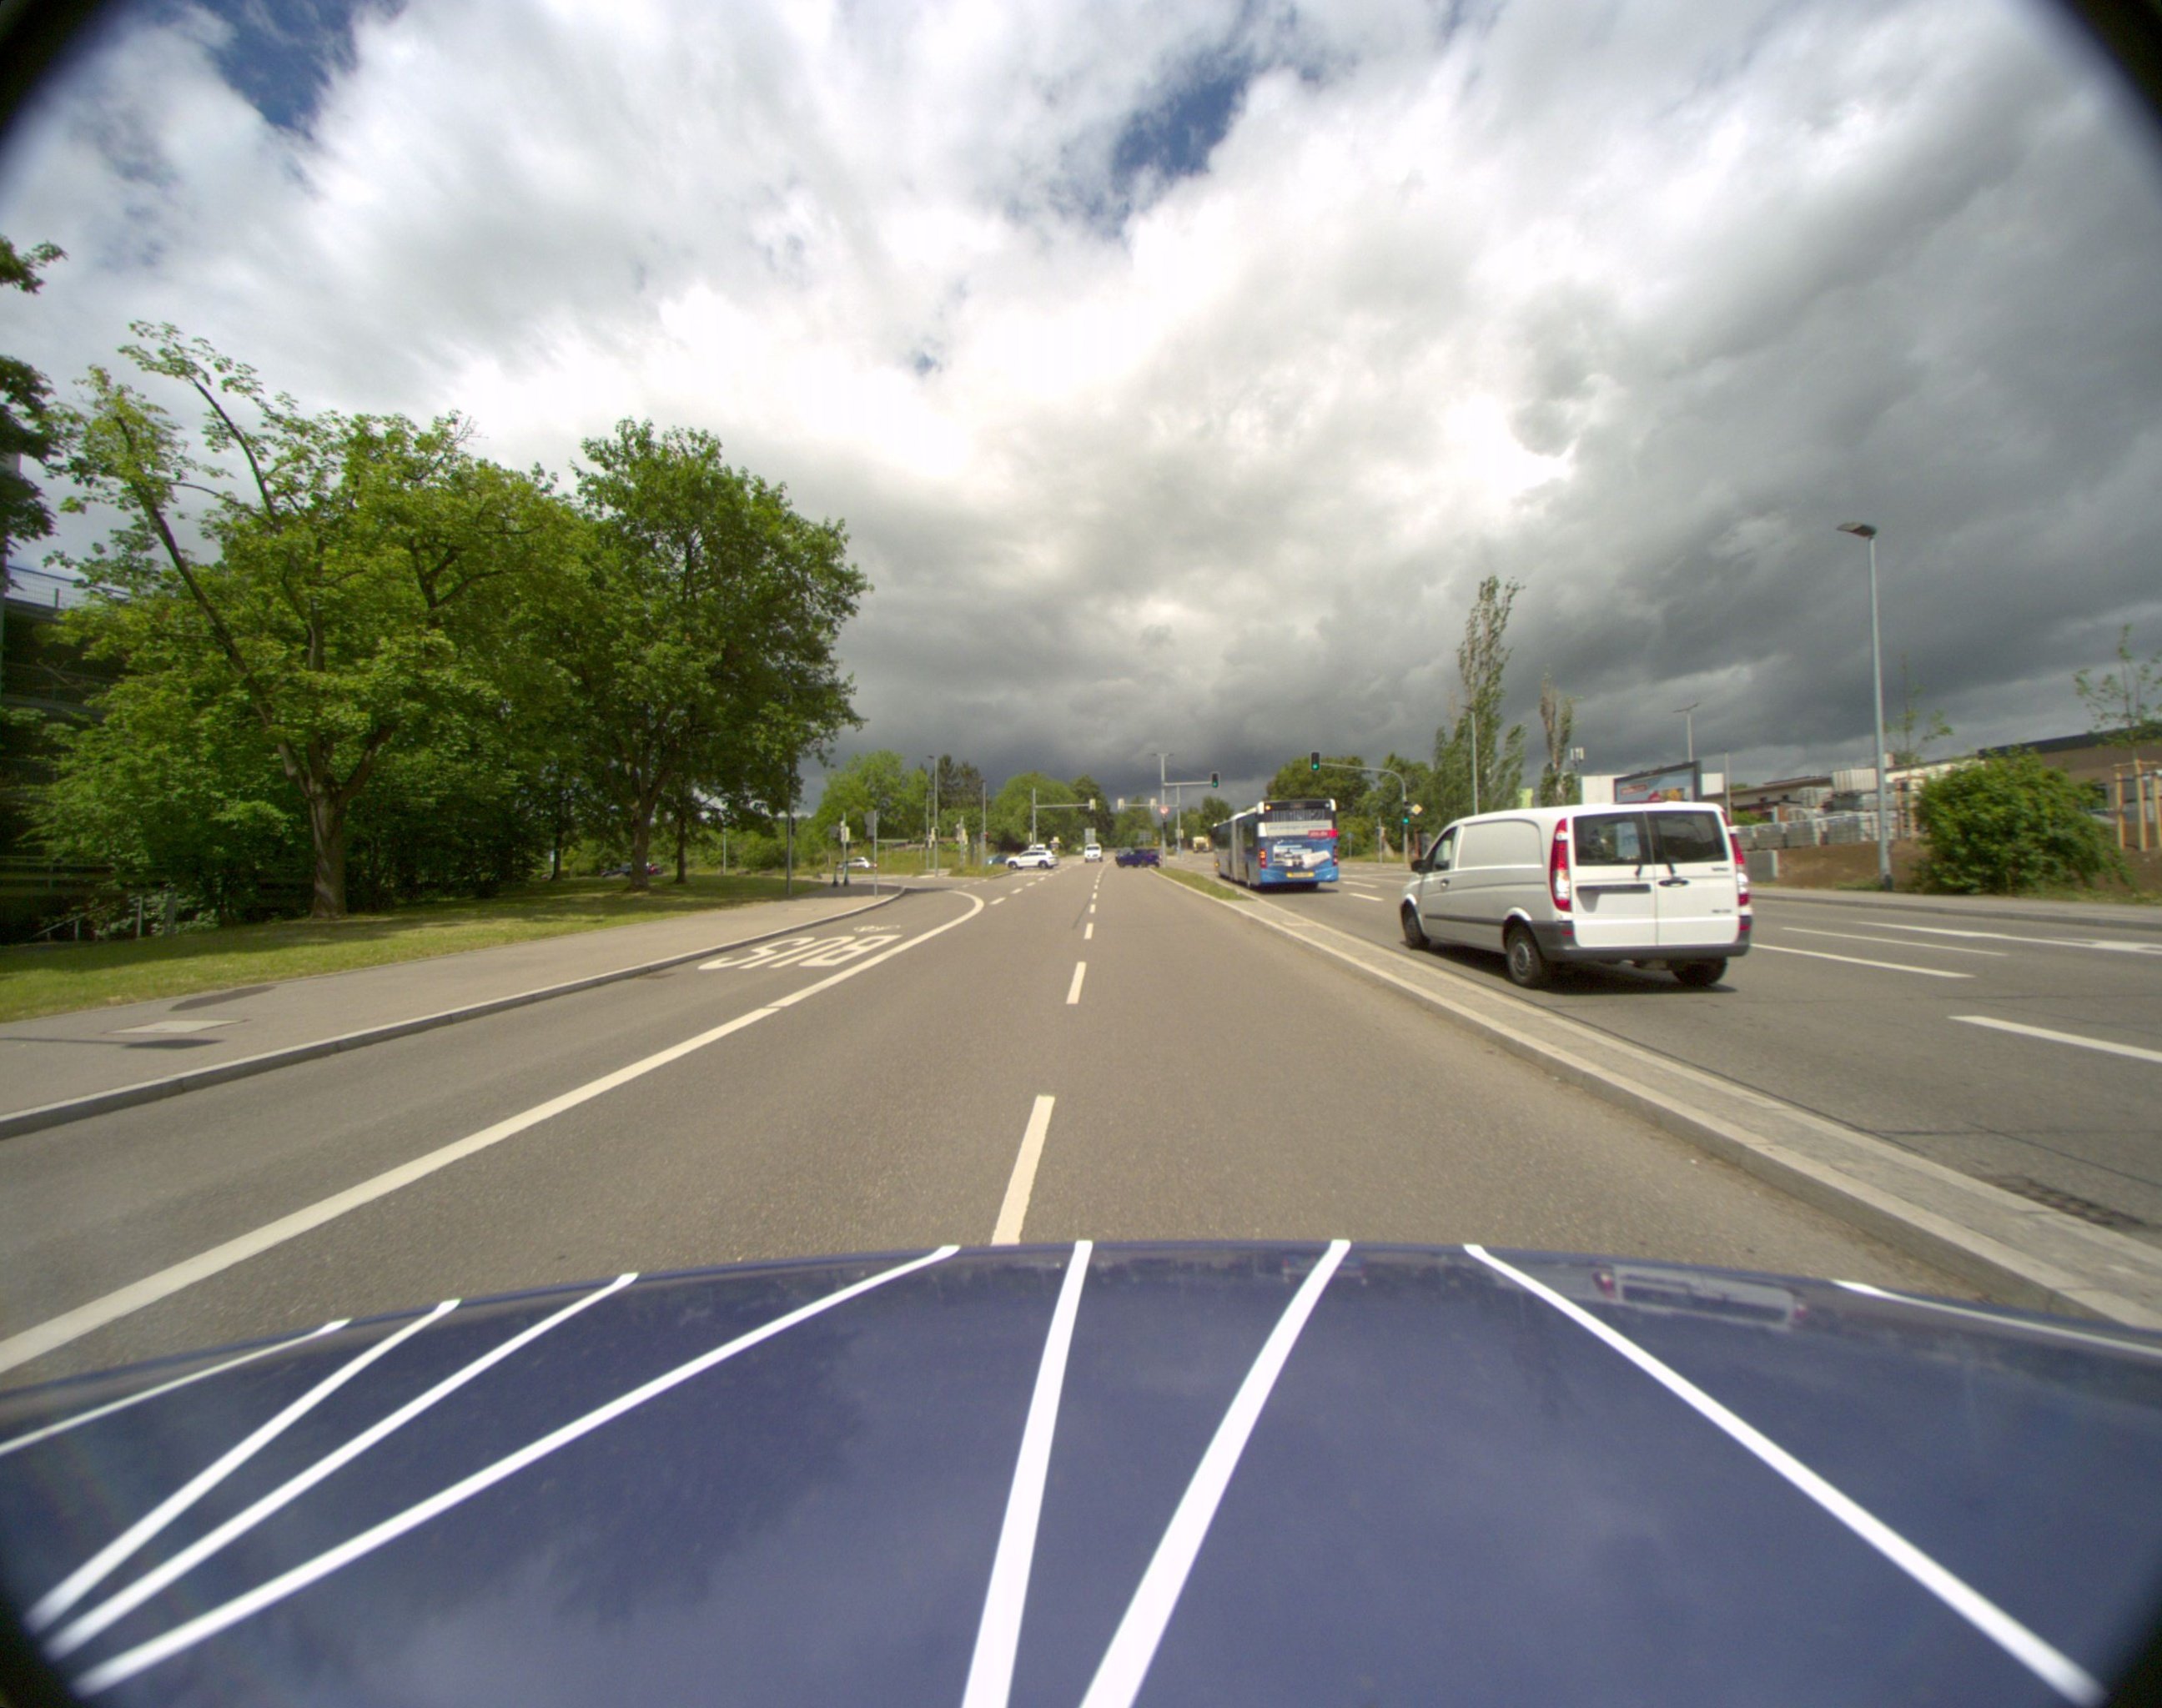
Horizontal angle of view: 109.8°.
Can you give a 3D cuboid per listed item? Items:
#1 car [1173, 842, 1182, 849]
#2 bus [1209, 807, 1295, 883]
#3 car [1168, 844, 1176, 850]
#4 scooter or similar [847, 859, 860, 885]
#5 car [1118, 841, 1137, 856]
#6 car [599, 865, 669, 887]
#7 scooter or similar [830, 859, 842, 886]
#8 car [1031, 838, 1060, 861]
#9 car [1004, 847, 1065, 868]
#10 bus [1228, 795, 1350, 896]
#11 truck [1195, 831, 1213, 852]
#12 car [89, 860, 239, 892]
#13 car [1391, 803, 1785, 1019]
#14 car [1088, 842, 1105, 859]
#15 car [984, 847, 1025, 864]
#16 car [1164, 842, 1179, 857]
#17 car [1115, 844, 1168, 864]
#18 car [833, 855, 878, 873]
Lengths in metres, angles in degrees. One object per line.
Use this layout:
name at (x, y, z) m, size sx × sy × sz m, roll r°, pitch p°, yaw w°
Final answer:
car at (21.167, -1.853, 166.172) m, size 1.695 × 1.391 × 4.003 m, roll -1°, pitch -3°, yaw 3°
bus at (8.328, -0.455, 38.359) m, size 2.821 × 3.266 × 10.122 m, roll -2°, pitch 1°, yaw 5°
car at (22.249, -1.640, 185.032) m, size 1.695 × 1.392 × 4.001 m, roll -1°, pitch 0°, yaw 4°
scooter or similar at (-11.256, 0.897, 37.547) m, size 0.534 × 1.256 × 1.188 m, roll 0°, pitch 0°, yaw -19°
car at (5.329, -0.637, 87.916) m, size 1.909 × 1.626 × 4.970 m, roll -2°, pitch 1°, yaw 1°
car at (-39.377, 1.945, 66.968) m, size 4.978 × 1.680 × 1.910 m, roll -2°, pitch 1°, yaw 0°
scooter or similar at (-11.610, 0.870, 35.977) m, size 0.534 × 1.256 × 1.188 m, roll 0°, pitch 0°, yaw -19°
car at (-4.266, -0.498, 91.774) m, size 2.162 × 2.635 × 5.829 m, roll -2°, pitch 0°, yaw 10°
car at (-4.017, 0.296, 65.714) m, size 4.891 × 1.649 × 1.735 m, roll -2°, pitch 0°, yaw 17°
bus at (7.527, -0.242, 28.875) m, size 2.821 × 3.145 × 8.911 m, roll -2°, pitch 0°, yaw 5°
truck at (24.531, -2.507, 152.110) m, size 2.844 × 3.555 × 6.974 m, roll -1°, pitch -4°, yaw 3°
car at (-39.757, 0.962, 33.051) m, size 1.773 × 1.284 × 3.806 m, roll -2°, pitch -2°, yaw 24°
car at (5.555, 0.531, 9.267) m, size 1.881 × 1.913 × 4.752 m, roll -2°, pitch 0°, yaw 4°
car at (1.746, -0.425, 86.499) m, size 1.909 × 1.926 × 4.970 m, roll -2°, pitch 1°, yaw 1°
car at (-8.167, 0.159, 81.450) m, size 1.905 × 1.627 × 4.456 m, roll -1°, pitch 1°, yaw 32°
car at (14.086, -0.729, 118.088) m, size 1.998 × 2.000 × 4.004 m, roll -1°, pitch -4°, yaw 4°
car at (4.871, 0.027, 61.531) m, size 1.814 × 1.502 × 4.387 m, roll -2°, pitch 0°, yaw -36°
car at (-19.904, 0.920, 67.098) m, size 3.521 × 1.451 × 1.586 m, roll -2°, pitch -3°, yaw 0°
